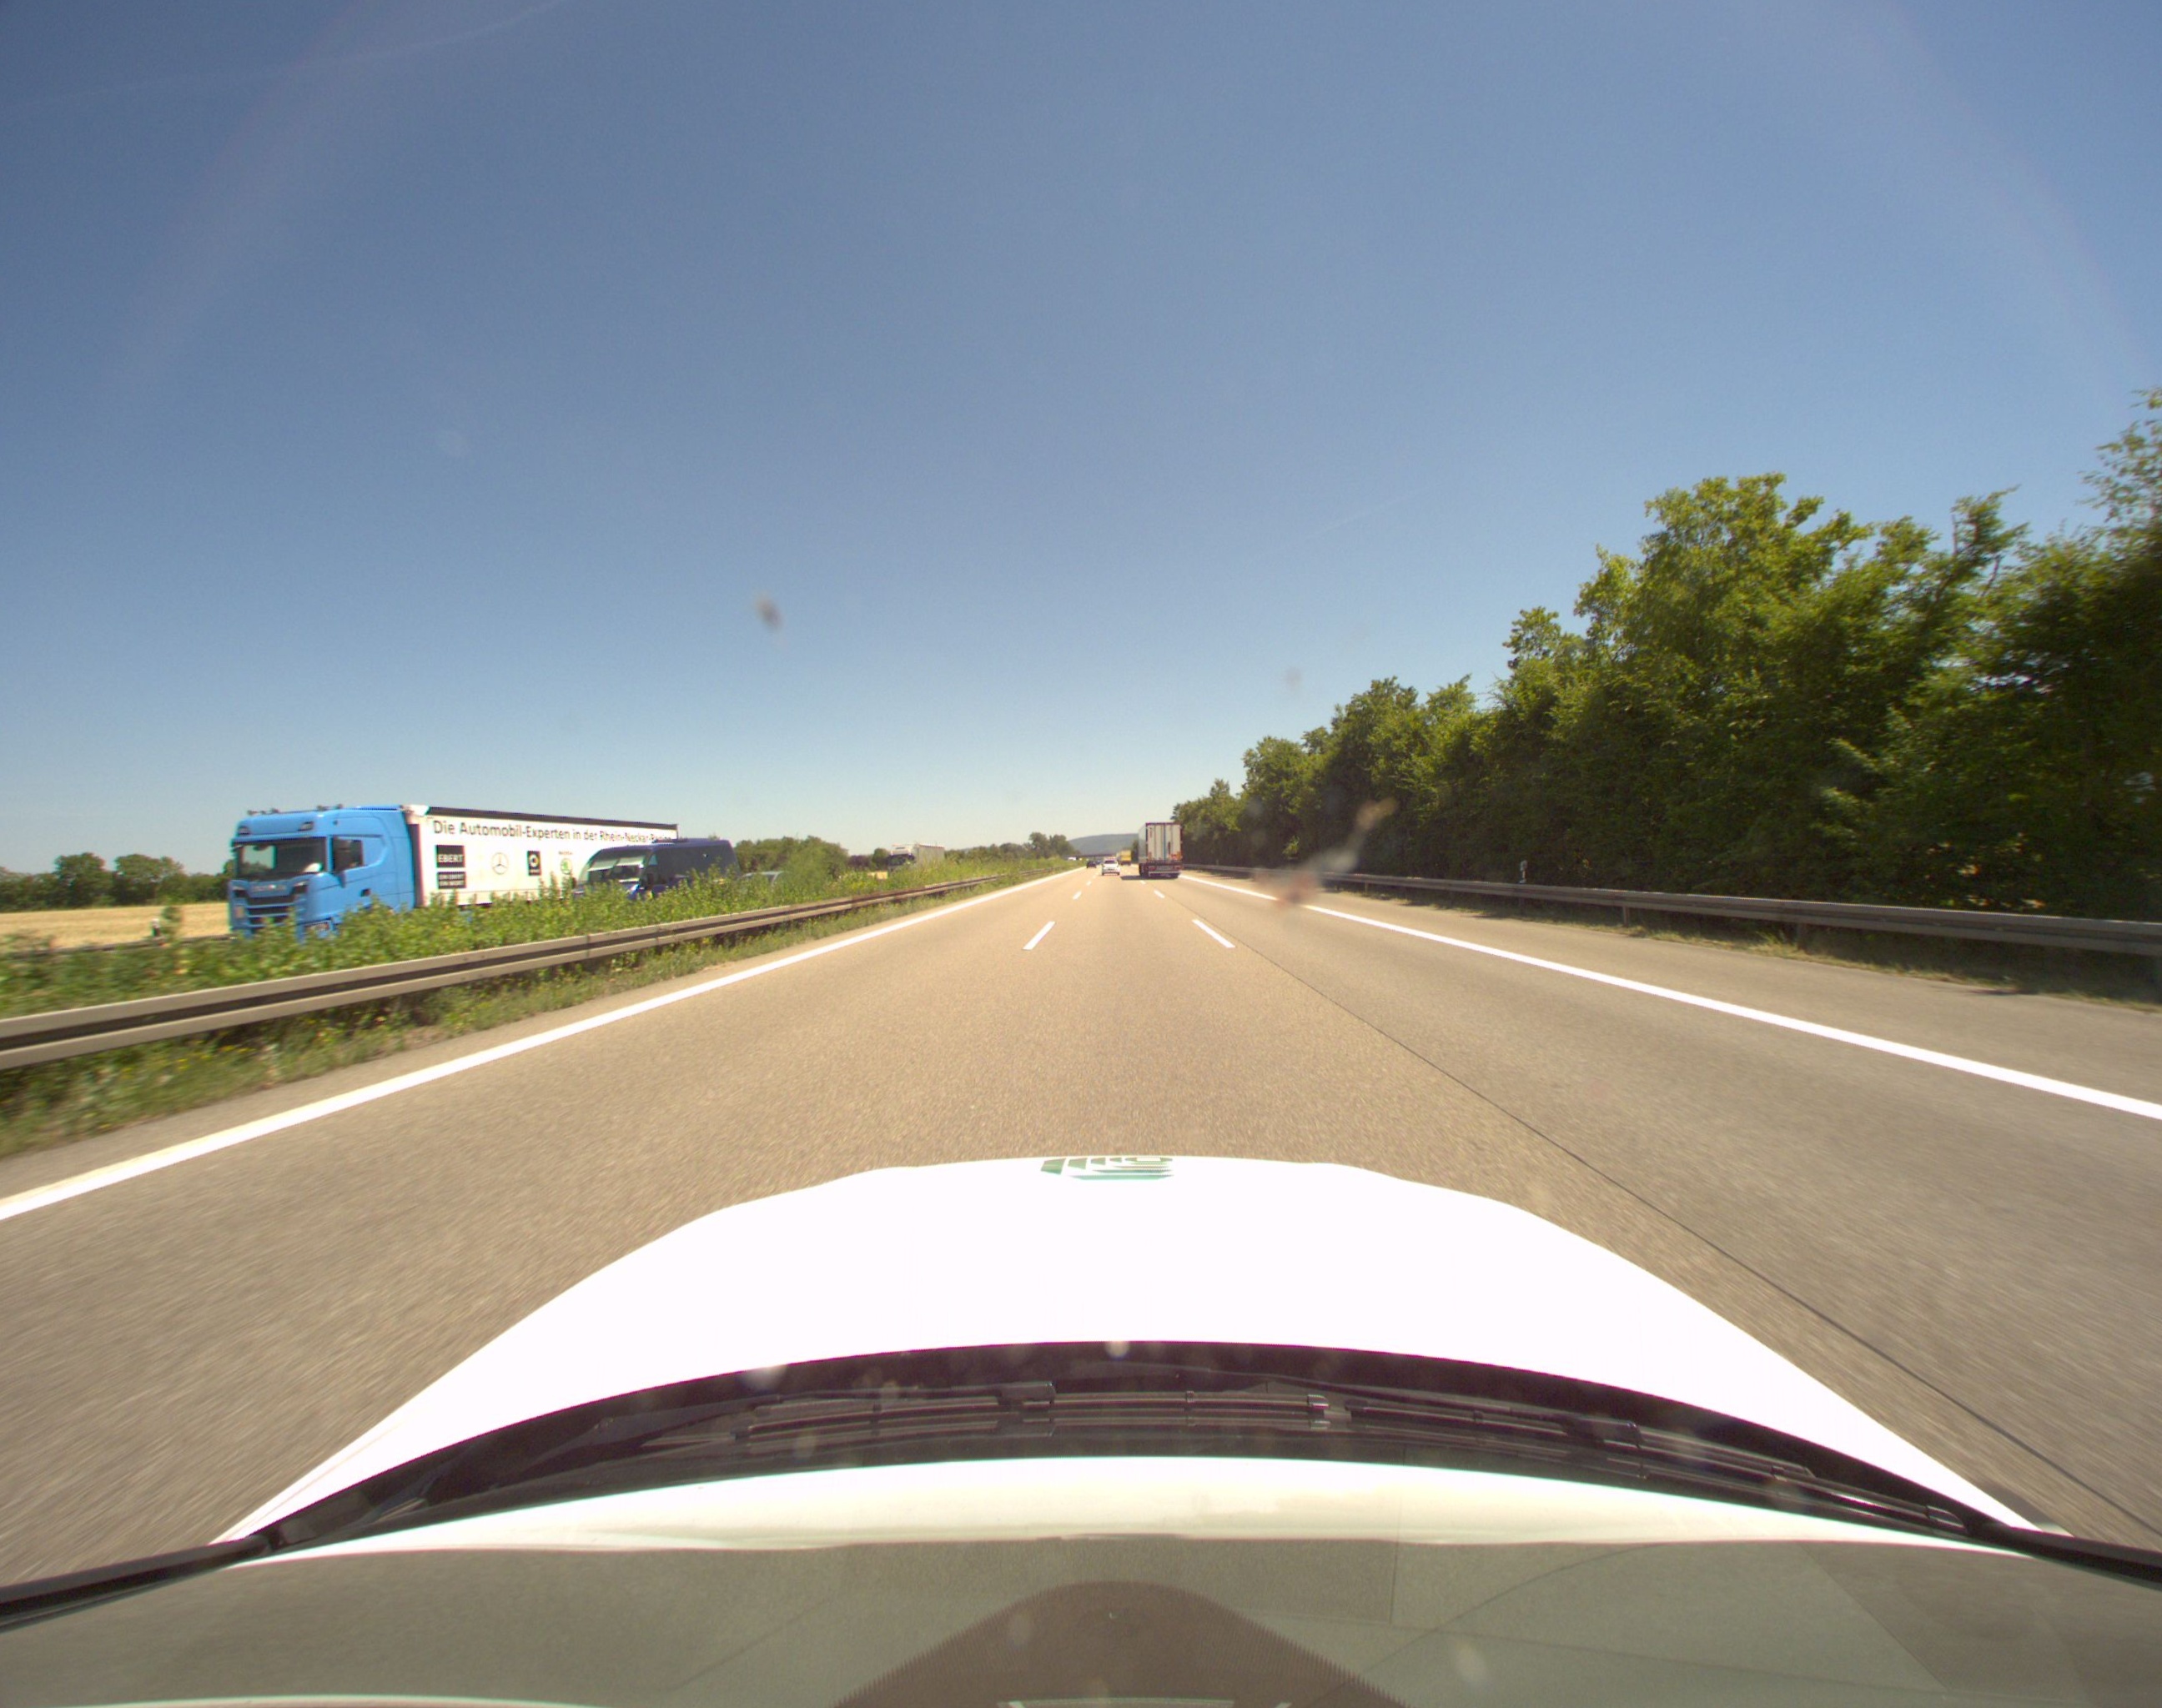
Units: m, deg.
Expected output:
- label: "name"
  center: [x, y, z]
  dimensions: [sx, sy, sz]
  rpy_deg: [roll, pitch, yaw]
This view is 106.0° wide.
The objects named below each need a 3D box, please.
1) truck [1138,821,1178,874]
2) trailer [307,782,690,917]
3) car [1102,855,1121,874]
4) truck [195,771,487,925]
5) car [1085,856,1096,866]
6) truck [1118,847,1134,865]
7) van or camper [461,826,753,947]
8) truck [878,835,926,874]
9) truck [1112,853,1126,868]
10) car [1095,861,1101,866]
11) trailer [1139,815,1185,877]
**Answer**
- label: "truck"
  center: [6.633, -0.539, 70.943]
  dimensions: [3.204, 4.345, 6.597]
  rpy_deg: [0, 0, 4]
- label: "trailer"
  center: [-19.484, -0.107, 29.600]
  dimensions: [3.098, 3.698, 14.390]
  rpy_deg: [0, 0, 2]
- label: "car"
  center: [2.925, 0.980, 77.814]
  dimensions: [1.726, 1.684, 4.001]
  rpy_deg: [-2, 0, 1]
- label: "truck"
  center: [-19.803, -0.132, 22.300]
  dimensions: [3.098, 3.699, 5.201]
  rpy_deg: [0, 0, 2]
- label: "car"
  center: [1.765, 1.216, 147.313]
  dimensions: [1.986, 1.712, 4.001]
  rpy_deg: [0, 0, 1]
- label: "truck"
  center: [11.418, 0.496, 207.520]
  dimensions: [3.856, 4.345, 13.867]
  rpy_deg: [0, 0, 2]
- label: "van or camper"
  center: [-14.804, 0.885, 27.193]
  dimensions: [2.601, 3.101, 11.515]
  rpy_deg: [-2, 0, 2]
- label: "truck"
  center: [-17.513, 0.055, 79.971]
  dimensions: [3.338, 3.698, 6.064]
  rpy_deg: [0, 0, 0]
- label: "truck"
  center: [12.419, 2.125, 266.447]
  dimensions: [4.255, 4.652, 13.866]
  rpy_deg: [-1, -1, 2]
- label: "car"
  center: [4.865, 2.795, 236.016]
  dimensions: [1.788, 1.551, 4.002]
  rpy_deg: [-1, -1, 2]
- label: "trailer"
  center: [6.201, -0.561, 64.320]
  dimensions: [3.204, 4.345, 13.642]
  rpy_deg: [0, 0, 4]
